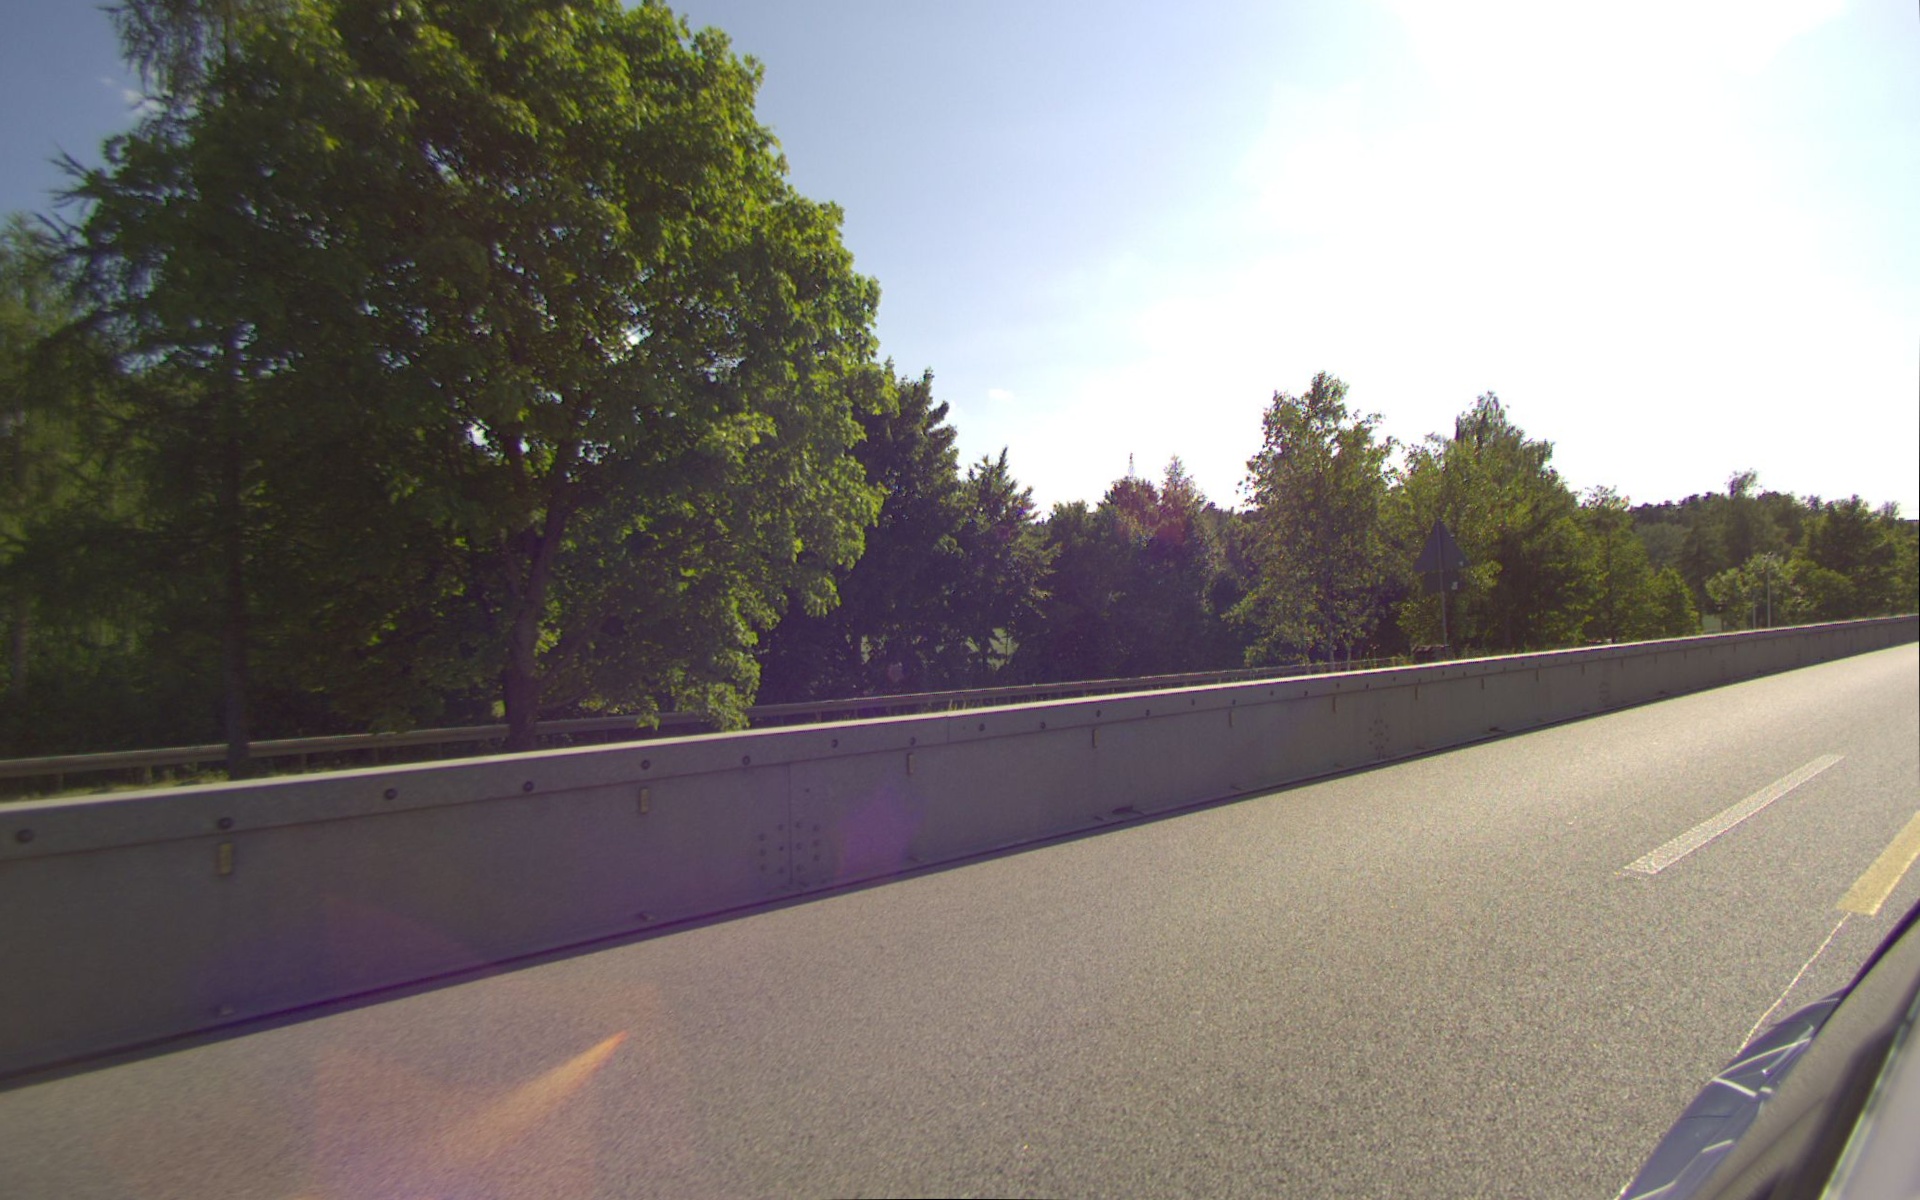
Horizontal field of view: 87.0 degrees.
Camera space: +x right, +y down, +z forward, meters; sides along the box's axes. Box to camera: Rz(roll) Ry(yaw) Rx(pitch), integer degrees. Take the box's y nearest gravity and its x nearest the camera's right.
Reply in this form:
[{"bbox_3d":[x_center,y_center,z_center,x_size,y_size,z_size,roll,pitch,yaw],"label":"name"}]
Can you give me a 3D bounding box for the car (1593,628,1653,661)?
[{"bbox_3d":[37.785,2.531,57.623,3.811,1.674,1.768,-1,0,-38],"label":"car"}]
